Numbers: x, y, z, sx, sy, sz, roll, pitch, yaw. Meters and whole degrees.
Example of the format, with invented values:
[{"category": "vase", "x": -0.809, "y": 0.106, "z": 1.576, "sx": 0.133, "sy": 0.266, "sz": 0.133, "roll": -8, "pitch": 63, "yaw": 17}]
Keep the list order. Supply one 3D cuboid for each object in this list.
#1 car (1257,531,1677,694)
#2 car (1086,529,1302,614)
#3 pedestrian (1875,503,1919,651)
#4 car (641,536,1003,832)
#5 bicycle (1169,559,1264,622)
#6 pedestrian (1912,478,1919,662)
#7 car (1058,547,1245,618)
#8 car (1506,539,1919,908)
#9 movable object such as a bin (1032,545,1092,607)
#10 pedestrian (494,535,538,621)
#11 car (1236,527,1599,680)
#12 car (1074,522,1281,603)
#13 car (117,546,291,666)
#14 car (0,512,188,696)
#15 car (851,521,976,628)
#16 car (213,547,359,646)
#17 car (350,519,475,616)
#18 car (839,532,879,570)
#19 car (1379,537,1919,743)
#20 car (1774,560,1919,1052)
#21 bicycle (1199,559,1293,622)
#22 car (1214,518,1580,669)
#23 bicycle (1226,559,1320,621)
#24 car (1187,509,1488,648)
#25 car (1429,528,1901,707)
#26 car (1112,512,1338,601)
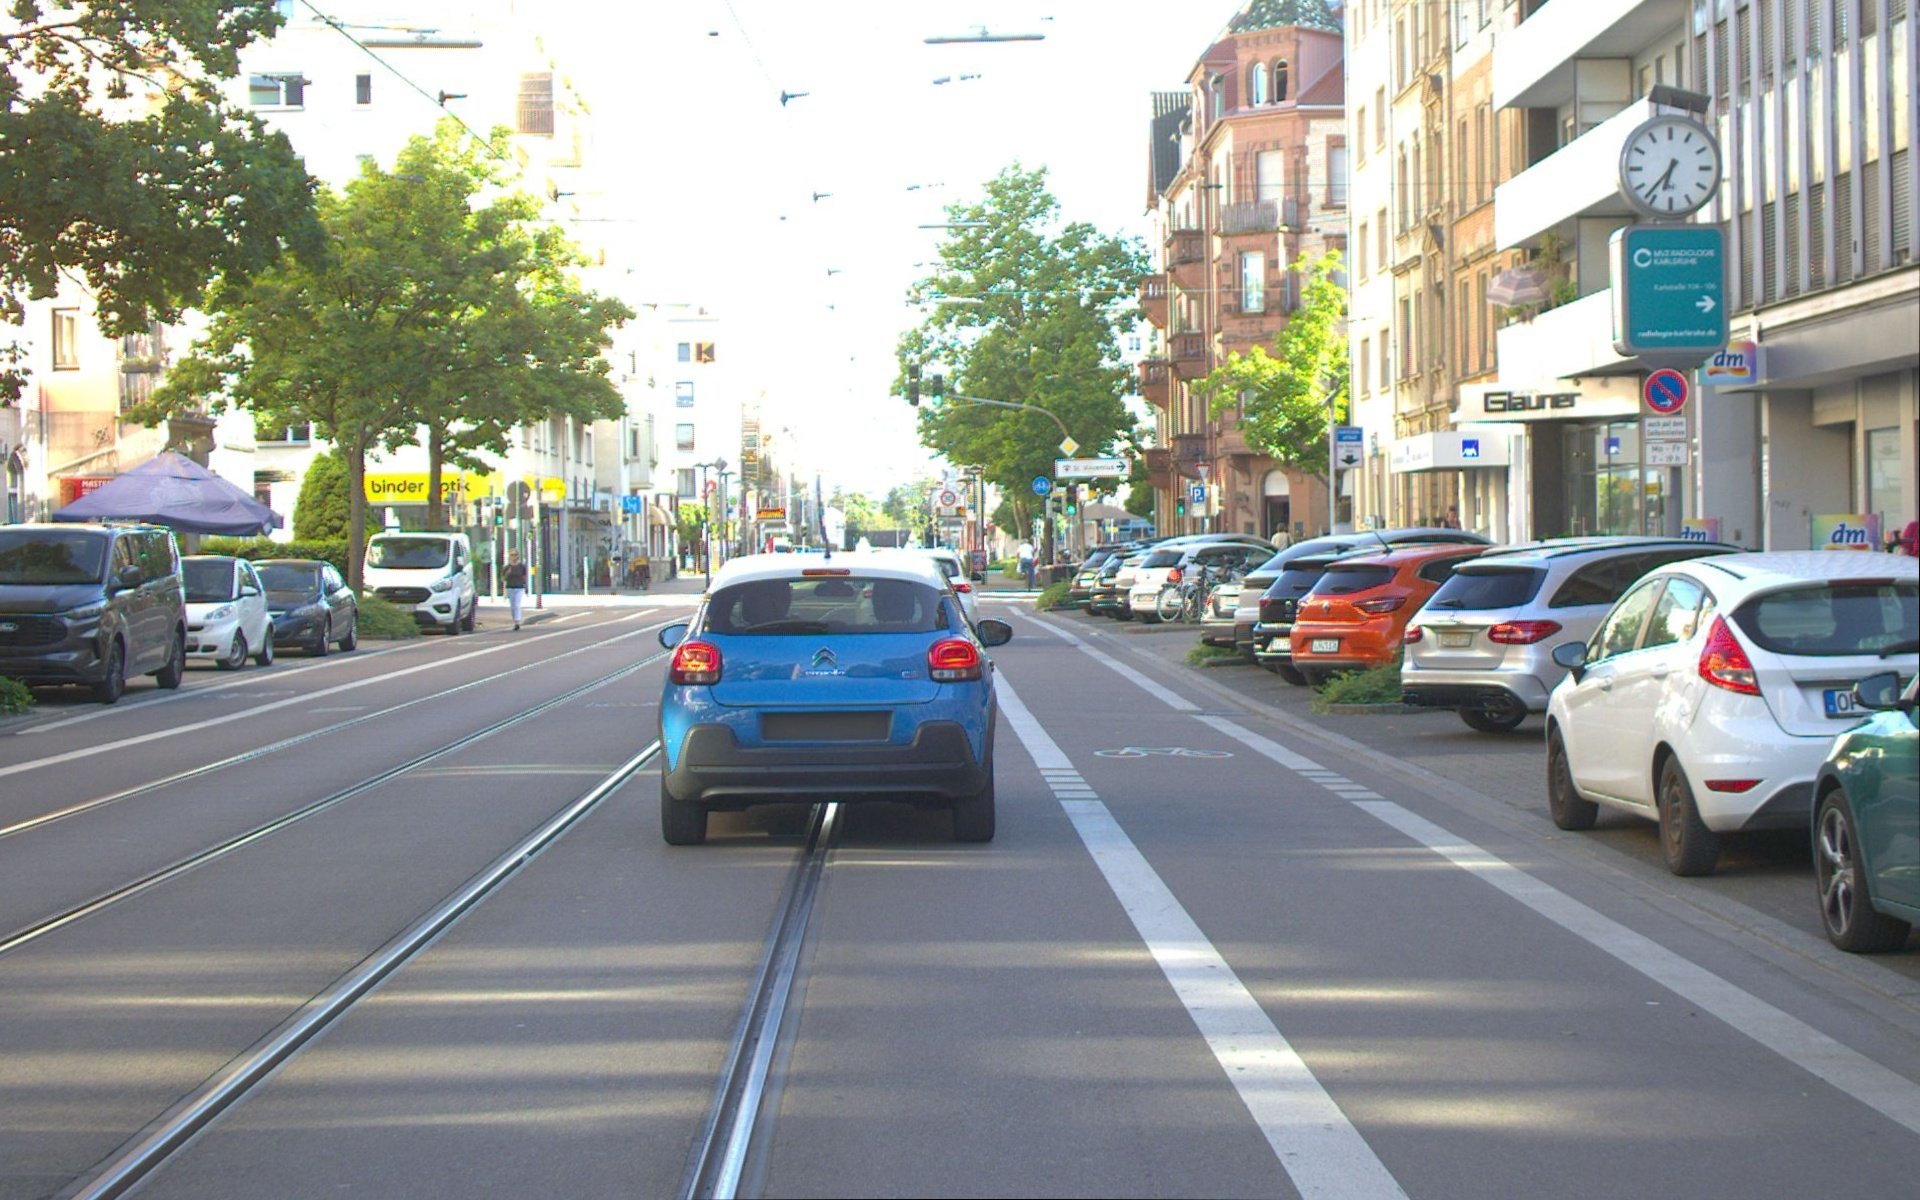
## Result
[{"category": "car", "x": 5.008, "y": 0.105, "z": 33.856, "sx": 3.719, "sy": 1.515, "sz": 1.968, "roll": 0, "pitch": 1, "yaw": -33}, {"category": "car", "x": 4.433, "y": -0.538, "z": 65.345, "sx": 3.653, "sy": 1.568, "sz": 1.861, "roll": 0, "pitch": 1, "yaw": -20}, {"category": "pedestrian", "x": 10.315, "y": -0.252, "z": 37.083, "sx": 0.692, "sy": 1.582, "sz": 0.678, "roll": 0, "pitch": 0, "yaw": -1}, {"category": "car", "x": -0.705, "y": 0.390, "z": 18.540, "sx": 1.762, "sy": 1.436, "sz": 3.557, "roll": 0, "pitch": 1, "yaw": -1}, {"category": "bicycle", "x": 4.330, "y": -0.170, "z": 58.085, "sx": 0.553, "sy": 1.044, "sz": 1.807, "roll": 0, "pitch": 1, "yaw": -36}, {"category": "pedestrian", "x": 9.523, "y": -0.285, "z": 32.762, "sx": 0.692, "sy": 1.750, "sz": 0.678, "roll": 0, "pitch": 0, "yaw": -1}, {"category": "car", "x": 4.168, "y": -0.383, "z": 74.824, "sx": 3.653, "sy": 1.529, "sz": 1.789, "roll": 0, "pitch": 1, "yaw": -20}, {"category": "car", "x": 3.948, "y": 0.514, "z": 16.859, "sx": 1.873, "sy": 1.590, "sz": 4.000, "roll": 0, "pitch": 1, "yaw": 0}, {"category": "movable object such as a bin", "x": 2.489, "y": -0.589, "z": 84.083, "sx": 1.394, "sy": 1.478, "sz": 1.655, "roll": 0, "pitch": 0, "yaw": -1}, {"category": "pedestrian", "x": -8.961, "y": -0.446, "z": 69.398, "sx": 0.729, "sy": 1.720, "sz": 0.628, "roll": 0, "pitch": 0, "yaw": -25}, {"category": "car", "x": 4.861, "y": 0.019, "z": 36.469, "sx": 3.441, "sy": 1.550, "sz": 1.824, "roll": 0, "pitch": 1, "yaw": -32}, {"category": "car", "x": 4.308, "y": -0.732, "z": 68.222, "sx": 3.653, "sy": 1.568, "sz": 1.861, "roll": 0, "pitch": 1, "yaw": -20}, {"category": "car", "x": -10.606, "y": 0.058, "z": 48.484, "sx": 1.747, "sy": 1.612, "sz": 4.411, "roll": 0, "pitch": 1, "yaw": -4}, {"category": "car", "x": -10.143, "y": 0.012, "z": 39.362, "sx": 1.747, "sy": 1.967, "sz": 5.241, "roll": 0, "pitch": 1, "yaw": -4}, {"category": "car", "x": -0.709, "y": -0.406, "z": 53.426, "sx": 1.873, "sy": 1.590, "sz": 4.000, "roll": 0, "pitch": 1, "yaw": 0}, {"category": "car", "x": -10.523, "y": -0.074, "z": 53.890, "sx": 1.747, "sy": 1.482, "sz": 4.043, "roll": 0, "pitch": 1, "yaw": -4}, {"category": "car", "x": -10.696, "y": -0.640, "z": 67.402, "sx": 1.831, "sy": 1.841, "sz": 4.214, "roll": 0, "pitch": 1, "yaw": -1}, {"category": "car", "x": -3.837, "y": -1.849, "z": 131.096, "sx": 1.423, "sy": 1.427, "sz": 3.139, "roll": 0, "pitch": 1, "yaw": 0}, {"category": "car", "x": 5.532, "y": 0.281, "z": 26.854, "sx": 4.439, "sy": 1.503, "sz": 1.536, "roll": 0, "pitch": 1, "yaw": -30}, {"category": "car", "x": 4.049, "y": 0.671, "z": 11.069, "sx": 1.873, "sy": 1.590, "sz": 4.000, "roll": 0, "pitch": 1, "yaw": 0}, {"category": "bicycle", "x": 4.854, "y": -0.171, "z": 58.445, "sx": 0.553, "sy": 1.044, "sz": 1.807, "roll": 0, "pitch": 1, "yaw": -36}, {"category": "car", "x": 5.015, "y": -0.089, "z": 39.375, "sx": 3.719, "sy": 1.646, "sz": 2.048, "roll": 0, "pitch": 1, "yaw": -33}, {"category": "bicycle", "x": 5.352, "y": -0.180, "z": 58.826, "sx": 0.553, "sy": 1.044, "sz": 1.807, "roll": 0, "pitch": 1, "yaw": -36}, {"category": "car", "x": 4.644, "y": -0.267, "z": 42.127, "sx": 3.442, "sy": 1.634, "sz": 1.684, "roll": 0, "pitch": 1, "yaw": -37}, {"category": "car", "x": 6.186, "y": 0.132, "z": 30.136, "sx": 3.774, "sy": 1.482, "sz": 1.838, "roll": 0, "pitch": 1, "yaw": -30}, {"category": "car", "x": 4.791, "y": -0.773, "z": 62.165, "sx": 3.653, "sy": 1.568, "sz": 1.861, "roll": 0, "pitch": 1, "yaw": -29}]
